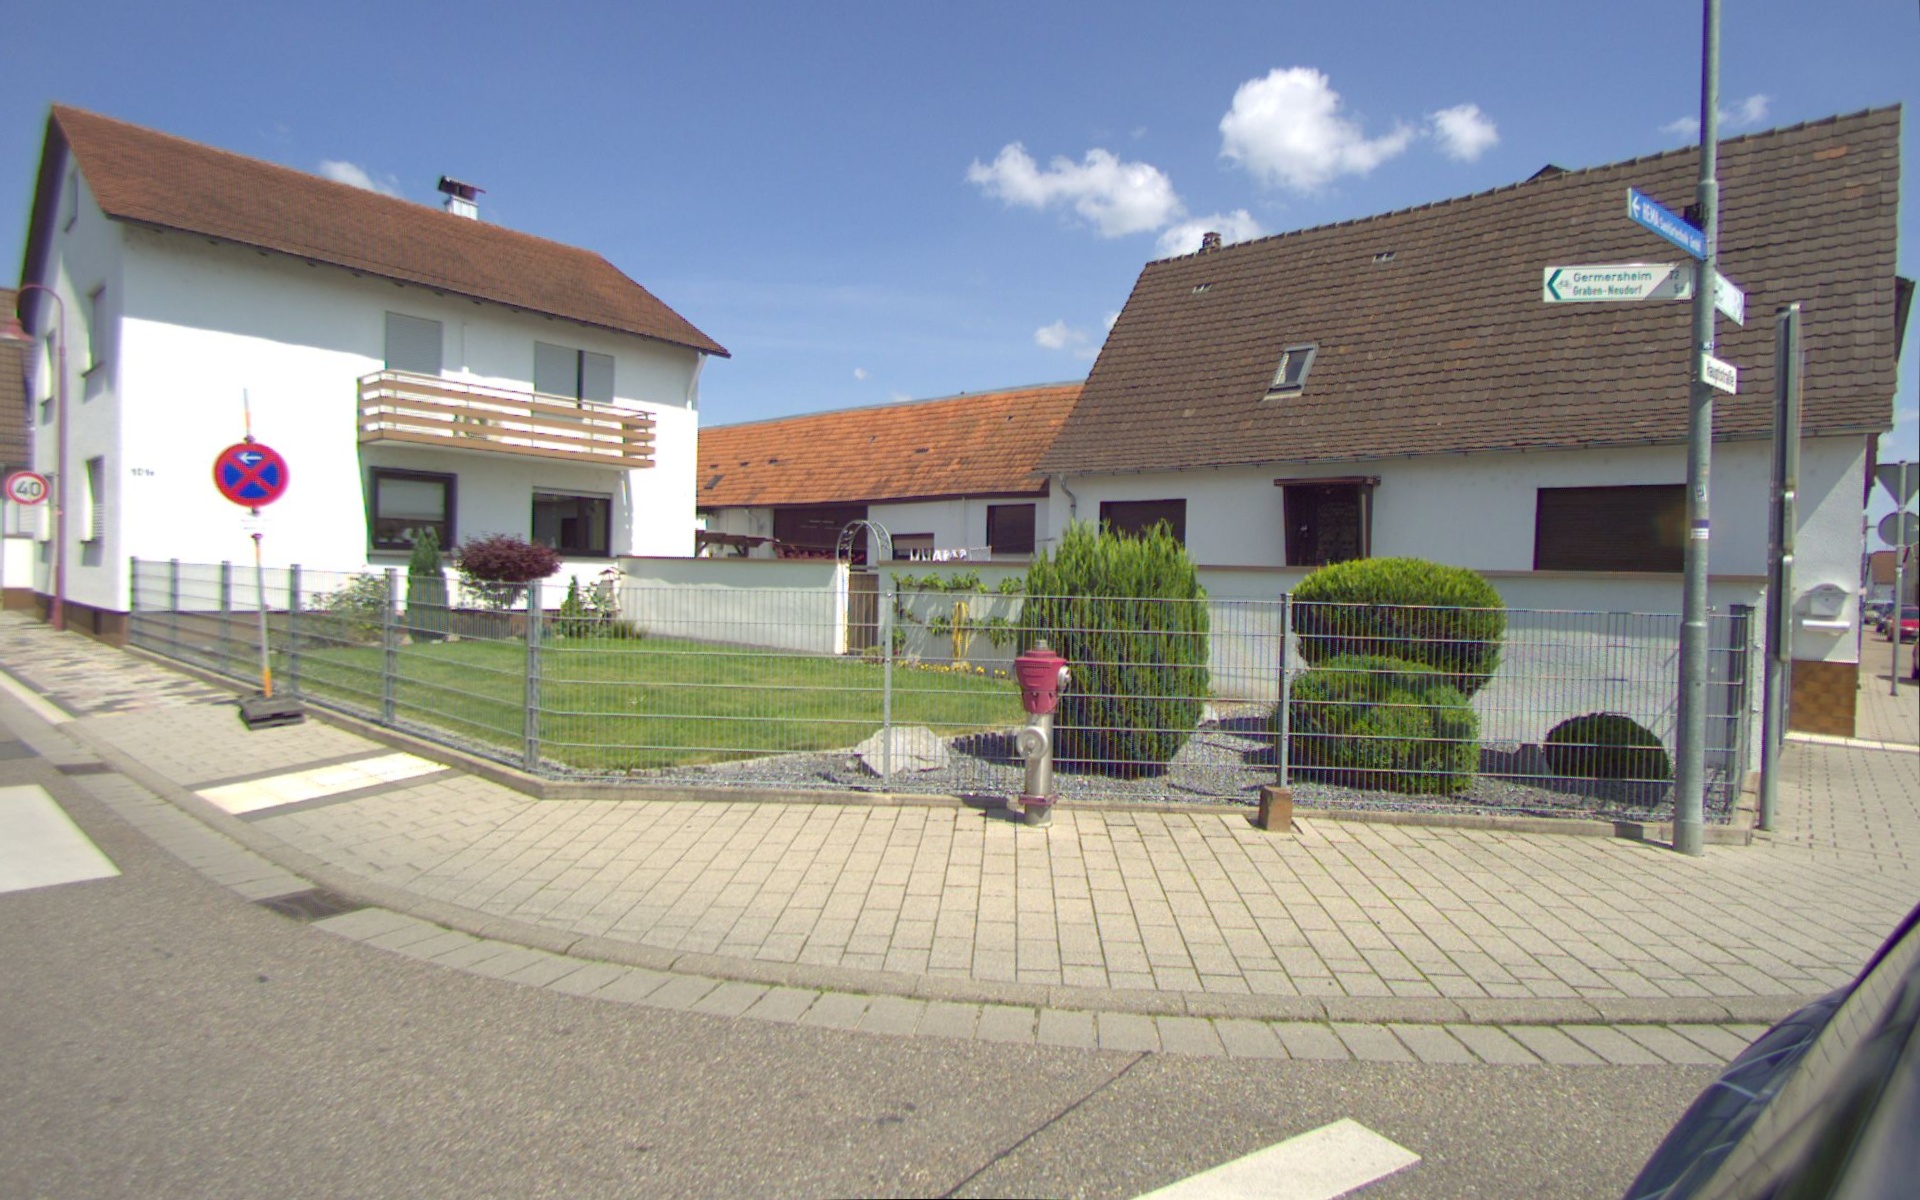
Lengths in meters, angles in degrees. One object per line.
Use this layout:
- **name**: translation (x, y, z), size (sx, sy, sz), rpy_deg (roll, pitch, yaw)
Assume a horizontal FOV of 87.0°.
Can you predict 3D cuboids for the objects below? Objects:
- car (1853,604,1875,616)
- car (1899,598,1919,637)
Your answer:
- **car**: translation (109.809, 1.203, 122.924), size (1.757, 1.446, 3.798), rpy_deg (3, 2, 38)
- **car**: translation (38.263, 0.694, 39.830), size (1.759, 1.446, 4.126), rpy_deg (3, 2, 41)
